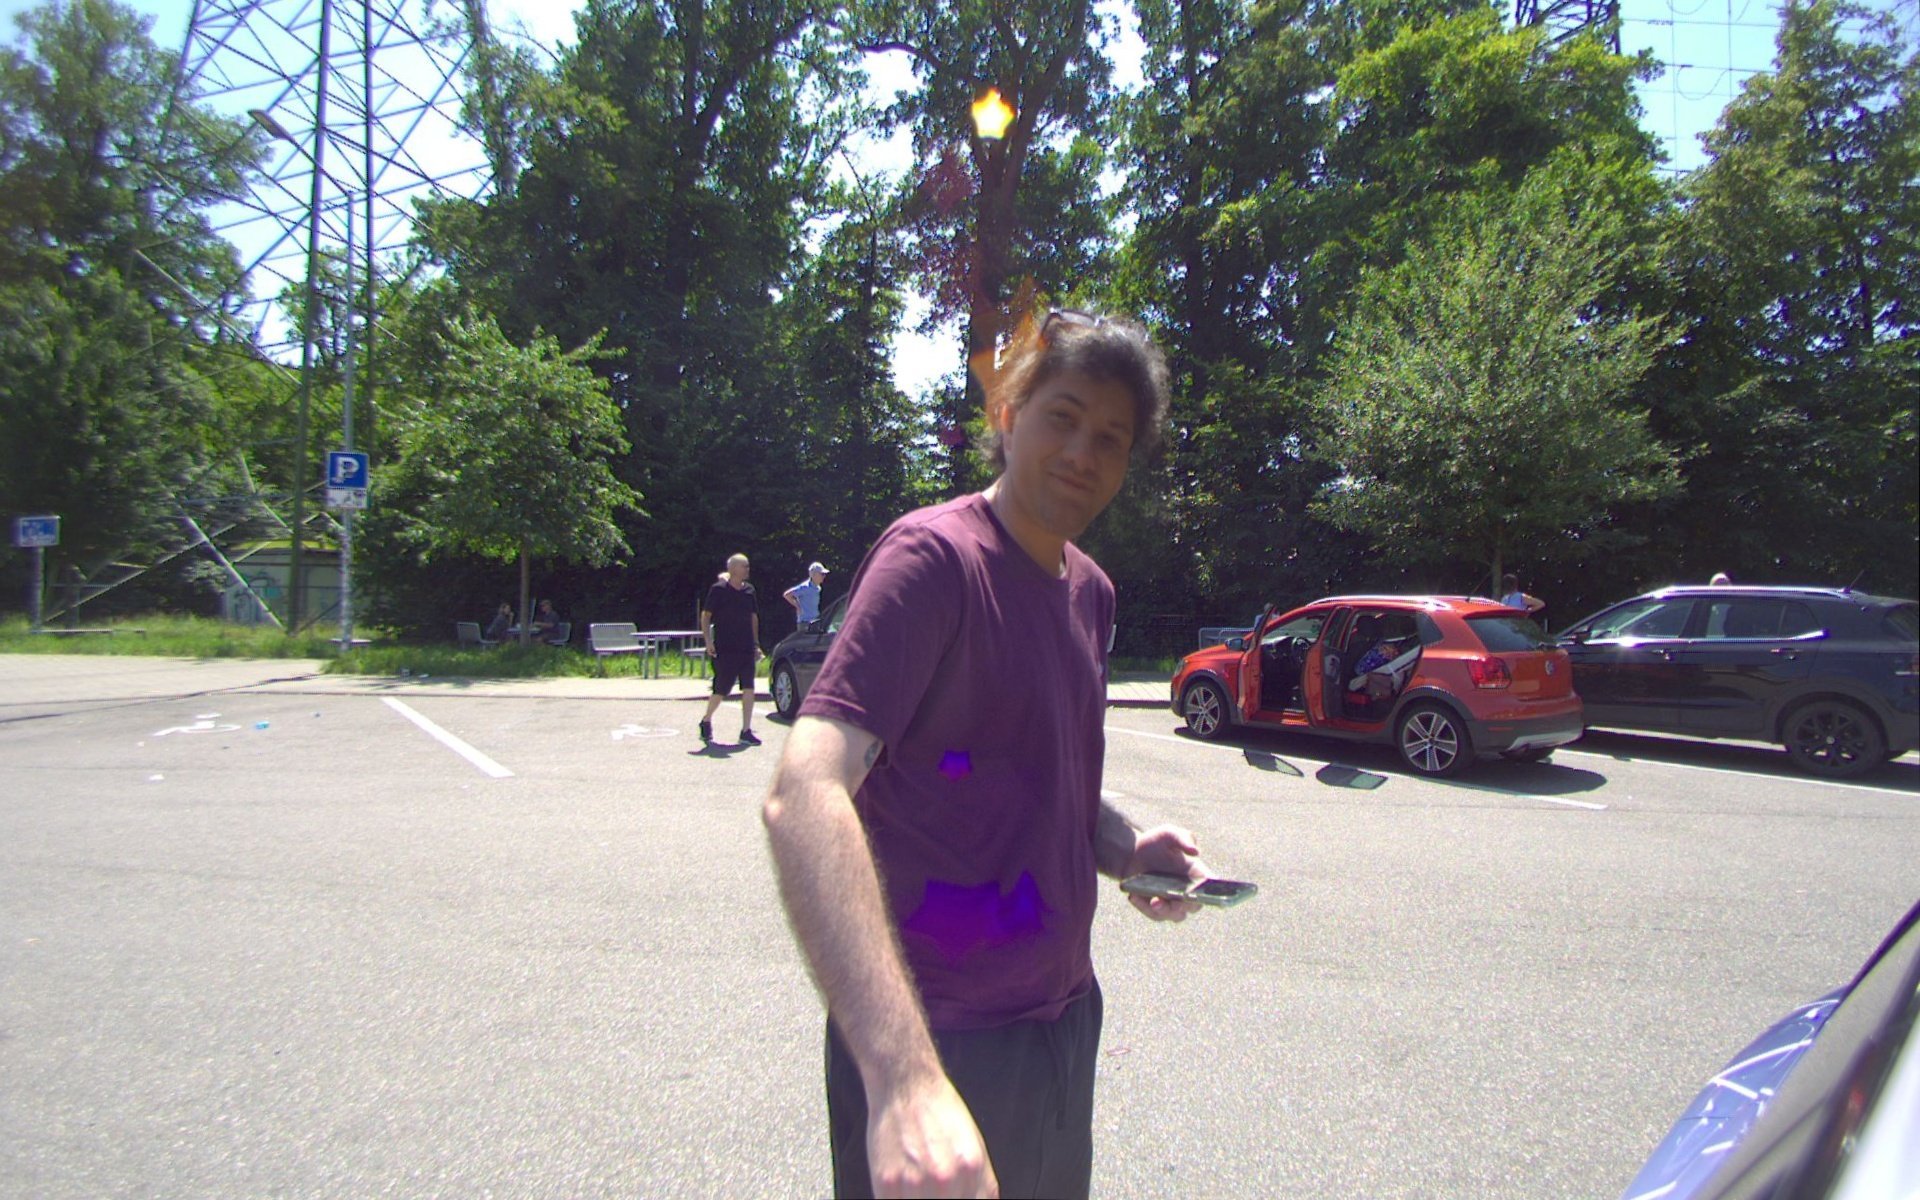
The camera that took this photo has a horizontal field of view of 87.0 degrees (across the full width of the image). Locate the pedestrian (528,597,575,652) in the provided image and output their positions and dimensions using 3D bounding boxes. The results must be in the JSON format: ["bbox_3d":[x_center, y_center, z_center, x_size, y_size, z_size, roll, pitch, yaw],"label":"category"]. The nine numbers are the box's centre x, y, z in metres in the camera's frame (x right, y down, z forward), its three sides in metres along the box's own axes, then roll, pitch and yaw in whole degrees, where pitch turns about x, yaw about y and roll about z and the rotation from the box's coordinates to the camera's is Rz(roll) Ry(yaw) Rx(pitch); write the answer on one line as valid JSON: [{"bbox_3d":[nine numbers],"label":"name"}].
[{"bbox_3d":[-9.544,0.569,23.642,0.796,1.253,0.713,1,-1,-44],"label":"pedestrian"}]

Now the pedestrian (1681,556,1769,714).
[{"bbox_3d":[9.445,0.418,12.521,0.672,1.889,0.710,0,-1,19],"label":"pedestrian"}]

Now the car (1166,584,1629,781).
[{"bbox_3d":[3.928,0.619,9.642,1.746,1.475,3.710,1,0,-33],"label":"car"}]

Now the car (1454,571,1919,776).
[{"bbox_3d":[7.209,0.573,9.829,1.807,1.612,3.967,1,0,-38],"label":"car"}]

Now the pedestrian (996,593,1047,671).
[{"bbox_3d":[1.044,0.535,17.176,0.656,1.285,0.655,1,-1,-17],"label":"pedestrian"}]

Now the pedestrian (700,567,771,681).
[{"bbox_3d":[-3.310,0.345,14.910,0.761,1.614,0.809,1,-1,-35],"label":"pedestrian"}]

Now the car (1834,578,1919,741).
[{"bbox_3d":[10.930,0.597,9.377,1.745,1.612,3.972,1,0,-32],"label":"car"}]

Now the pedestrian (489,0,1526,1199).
[{"bbox_3d":[0.076,0.396,1.207,0.828,1.797,0.926,0,-1,45],"label":"pedestrian"}]

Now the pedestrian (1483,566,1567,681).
[{"bbox_3d":[8.152,0.334,14.624,0.793,1.614,0.716,1,-1,-4],"label":"pedestrian"}]

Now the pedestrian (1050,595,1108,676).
[{"bbox_3d":[1.983,0.575,16.920,0.656,1.311,0.832,1,-1,-17],"label":"pedestrian"}]

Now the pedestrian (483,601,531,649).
[{"bbox_3d":[-10.265,0.560,22.907,0.796,1.062,0.714,1,-1,-43],"label":"pedestrian"}]

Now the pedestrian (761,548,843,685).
[{"bbox_3d":[-2.150,0.218,13.765,0.786,1.784,0.809,1,-1,-39],"label":"pedestrian"}]

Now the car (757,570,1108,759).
[{"bbox_3d":[-0.483,0.542,10.690,1.809,1.588,4.017,1,0,-35],"label":"car"}]

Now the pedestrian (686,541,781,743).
[{"bbox_3d":[-2.212,0.388,9.833,0.700,1.851,0.906,1,-1,-25],"label":"pedestrian"}]
